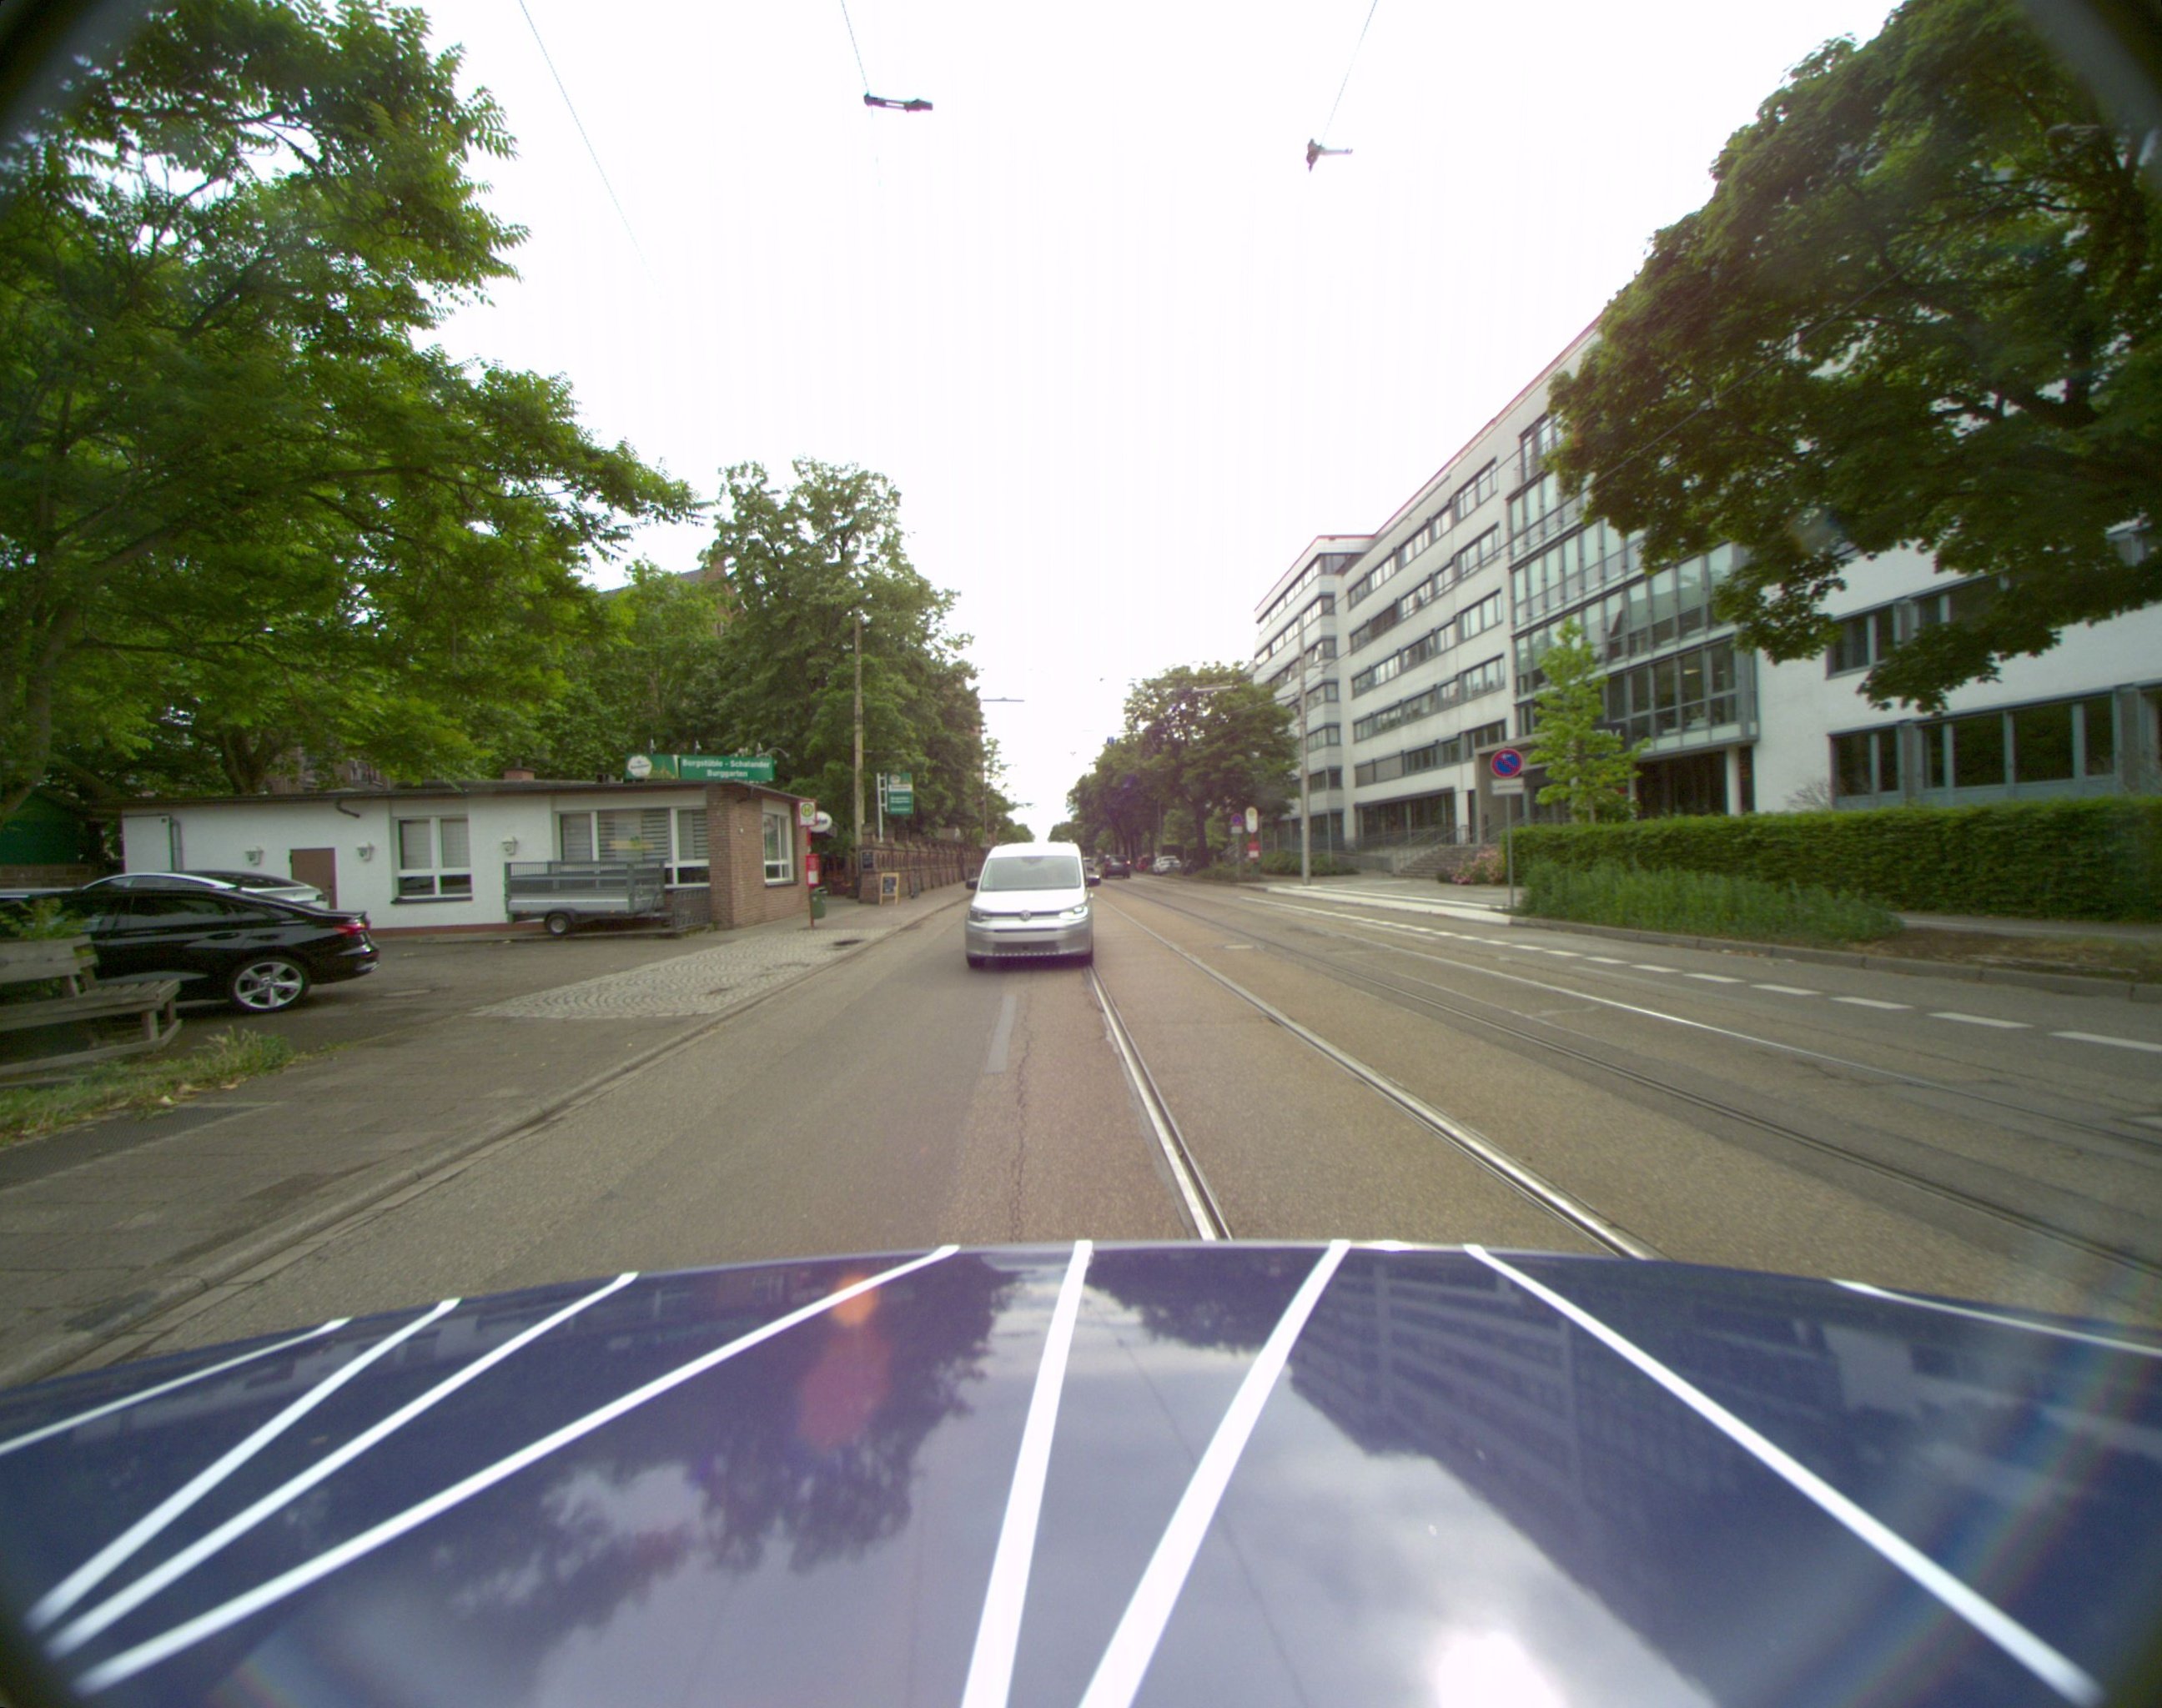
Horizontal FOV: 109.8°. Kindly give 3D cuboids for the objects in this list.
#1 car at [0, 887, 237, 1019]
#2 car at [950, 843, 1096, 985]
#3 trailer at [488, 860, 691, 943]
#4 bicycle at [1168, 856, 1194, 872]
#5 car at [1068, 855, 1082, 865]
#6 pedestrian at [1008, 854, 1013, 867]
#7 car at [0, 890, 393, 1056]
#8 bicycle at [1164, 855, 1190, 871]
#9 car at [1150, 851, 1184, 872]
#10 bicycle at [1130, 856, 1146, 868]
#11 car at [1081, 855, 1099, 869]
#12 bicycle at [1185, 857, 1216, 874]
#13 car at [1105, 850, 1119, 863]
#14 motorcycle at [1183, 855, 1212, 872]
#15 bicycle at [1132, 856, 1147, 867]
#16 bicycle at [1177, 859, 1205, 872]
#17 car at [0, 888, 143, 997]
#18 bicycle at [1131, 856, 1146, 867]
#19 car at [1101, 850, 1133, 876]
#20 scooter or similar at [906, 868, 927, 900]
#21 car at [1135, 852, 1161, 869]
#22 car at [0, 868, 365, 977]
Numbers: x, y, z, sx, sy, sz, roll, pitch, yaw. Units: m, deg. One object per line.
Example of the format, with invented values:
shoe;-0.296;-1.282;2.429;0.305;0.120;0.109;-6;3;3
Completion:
car;-13.819;1.247;9.322;1.872;1.419;4.551;1;1;40
car;-0.708;0.789;12.357;1.850;1.796;4.937;-2;0;1
trailer;-10.347;0.967;16.162;3.170;1.530;1.620;-2;1;-2
bicycle;7.394;0.727;56.061;1.812;1.094;0.632;-1;1;-9
car;-0.885;0.897;111.334;1.752;1.477;4.062;-2;-1;-3
pedestrian;-10.352;0.959;111.297;0.723;1.834;0.897;-1;1;-5
car;-10.399;1.177;7.907;1.930;1.399;4.594;-2;-1;41
bicycle;7.257;0.678;57.216;1.869;1.180;0.632;-1;1;2
car;6.749;0.605;60.326;1.886;1.485;4.752;-4;0;-3
bicycle;6.007;0.830;80.197;1.474;1.085;0.616;-4;1;-15
car;0.965;0.882;85.614;1.708;1.521;3.740;-3;1;-4
bicycle;7.814;0.746;49.834;1.834;1.047;0.741;-2;0;-11
car;4.532;0.367;111.153;1.815;1.699;3.999;-4;1;0
motorcycle;7.993;0.651;52.012;1.794;1.044;0.732;-3;1;-10
bicycle;6.289;0.803;81.215;1.473;1.134;0.617;-2;1;-4
bicycle;7.766;0.797;53.685;1.812;0.894;0.632;-1;1;-9
car;-16.244;1.258;10.198;1.980;1.450;4.501;-2;-1;36
bicycle;6.216;0.802;81.717;1.473;1.134;0.617;-4;1;-4
car;2.513;0.598;53.807;1.832;1.727;4.334;-2;1;-2
scooter or similar;-6.712;1.207;30.957;0.578;1.232;1.409;1;0;-2
car;6.436;0.616;73.443;1.633;1.439;3.755;-5;1;-6
car;-16.271;1.190;13.922;4.434;1.637;1.991;-2;1;3
